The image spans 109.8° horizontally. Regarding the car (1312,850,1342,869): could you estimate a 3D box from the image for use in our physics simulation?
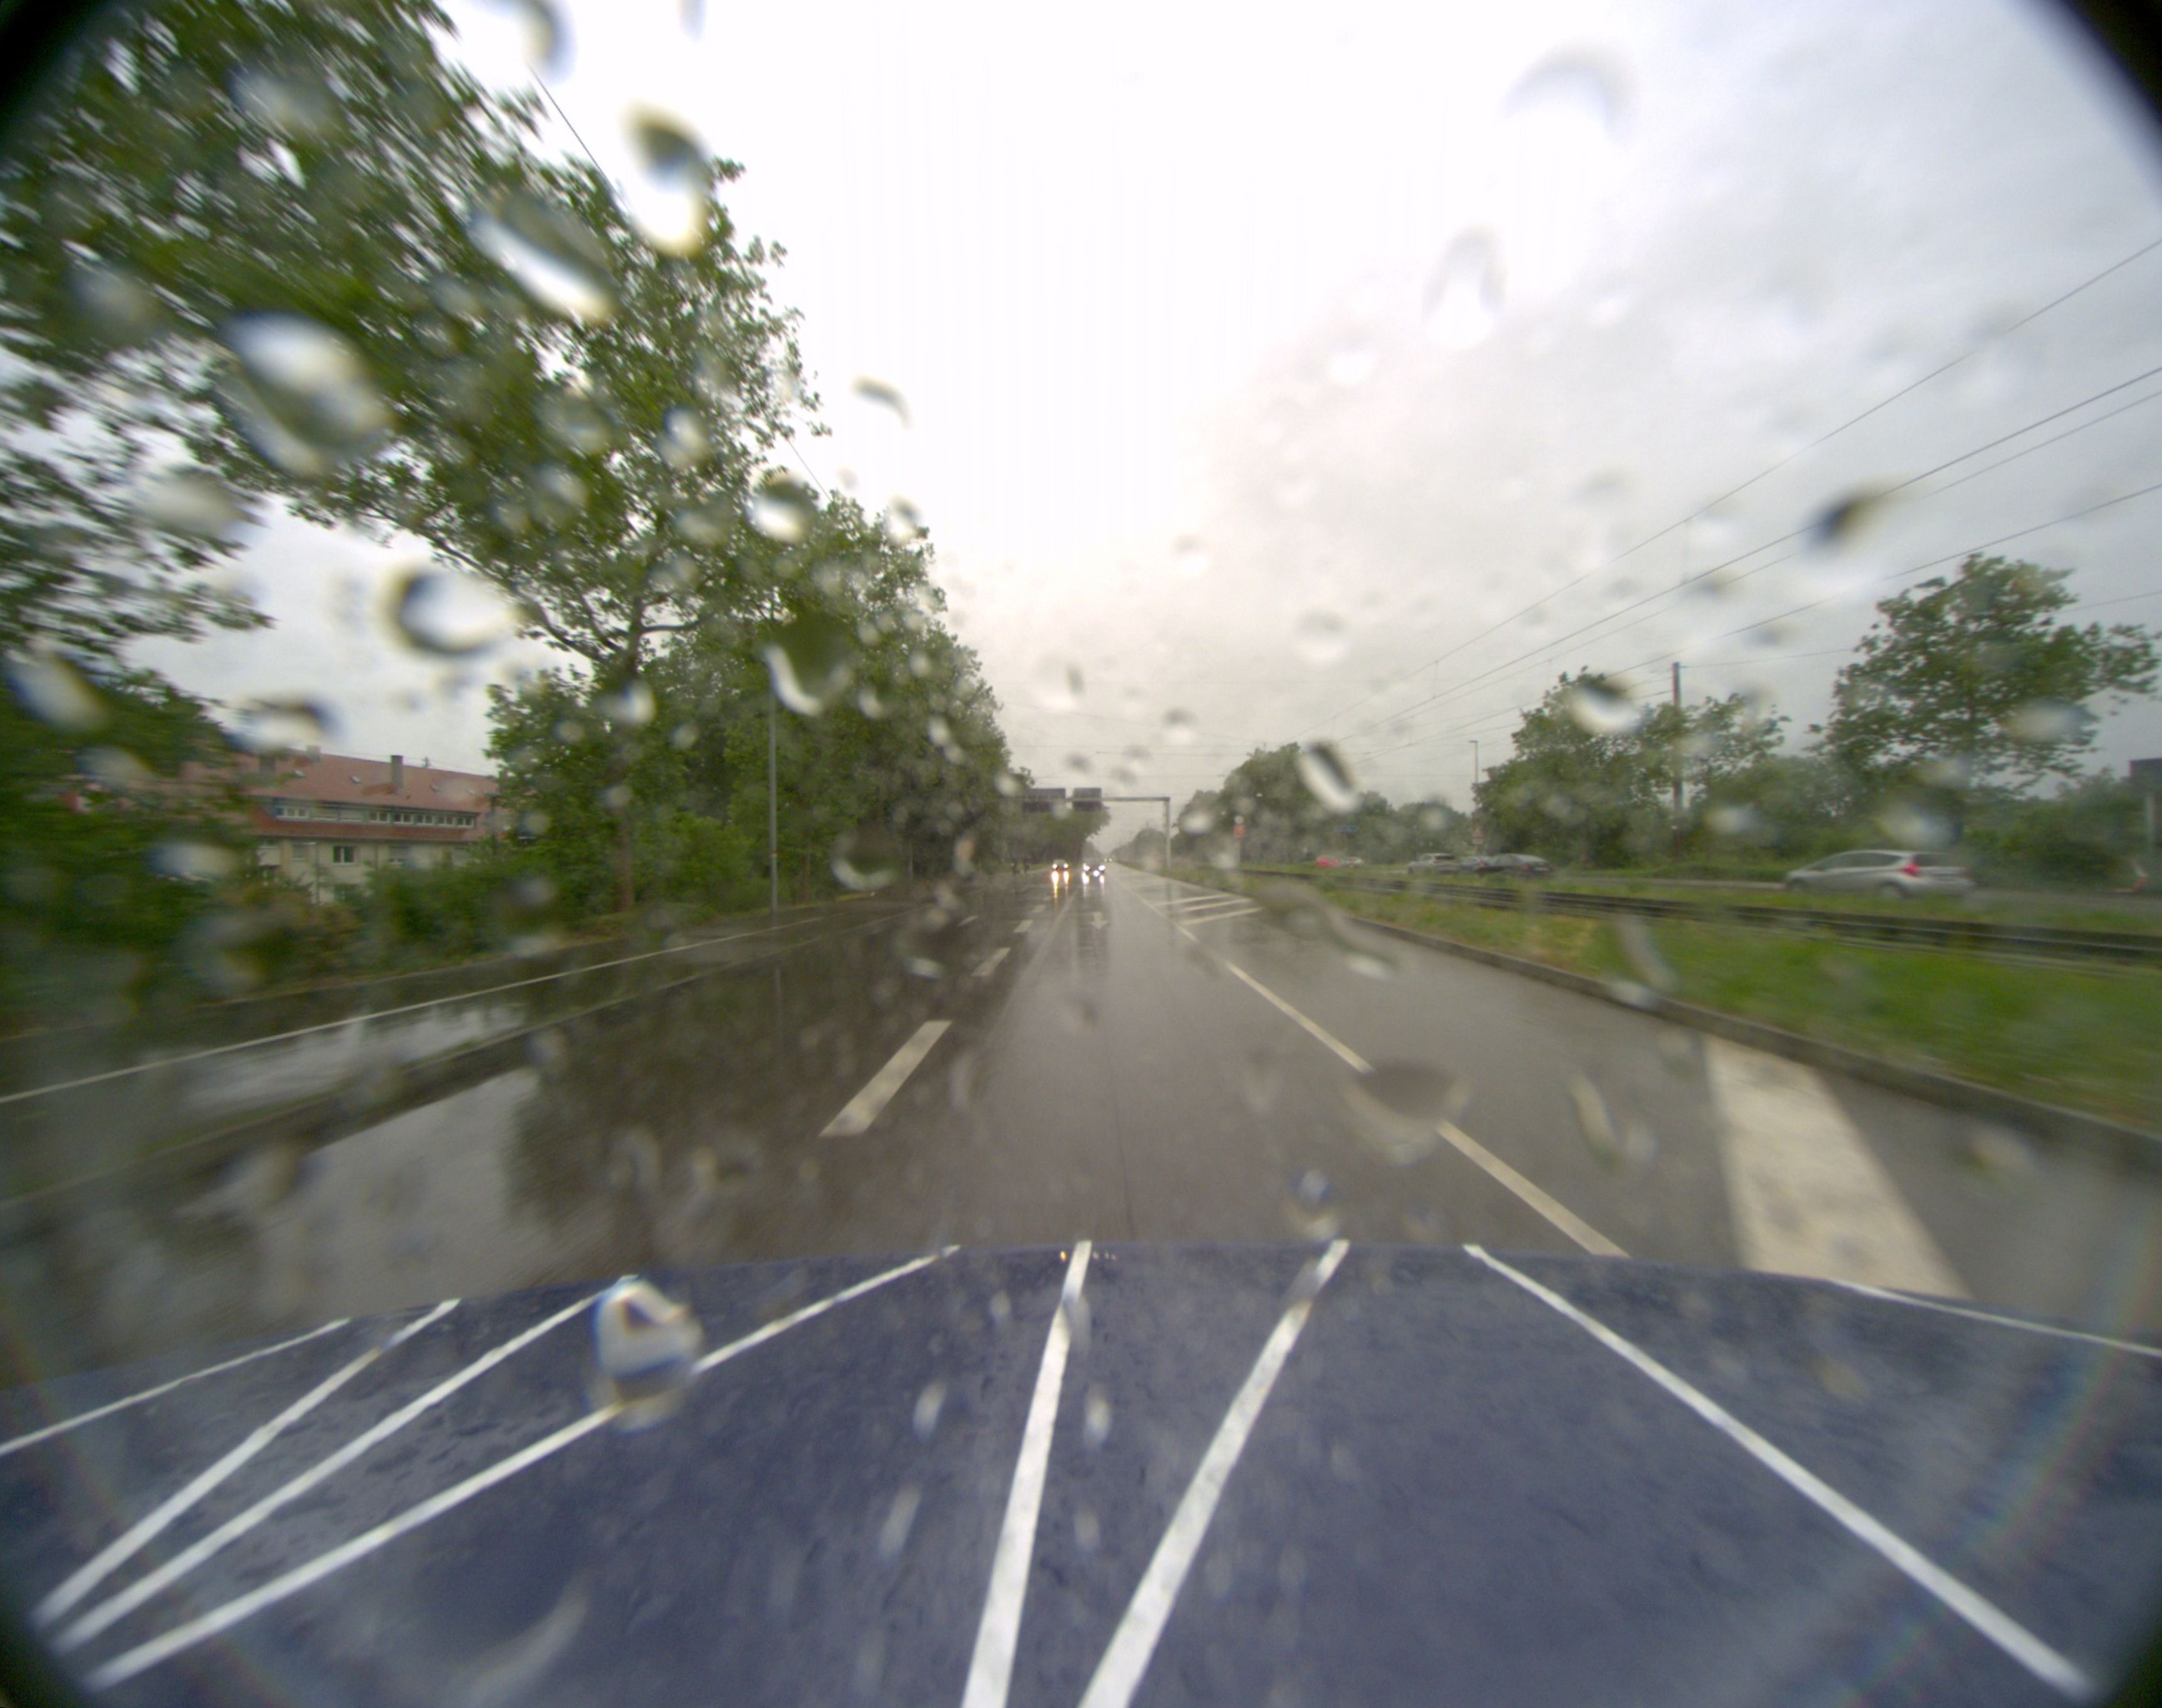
[{"bbox_3d":[22.504,0.470,69.597,1.606,1.580,3.619,-2,1,1],"label":"car"}]

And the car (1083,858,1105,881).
[{"bbox_3d":[1.216,1.447,72.381,1.998,2.002,4.000,-1,0,1],"label":"car"}]

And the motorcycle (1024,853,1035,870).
[{"bbox_3d":[-5.243,0.781,77.579,0.845,1.710,2.586,-2,0,1],"label":"motorcycle"}]

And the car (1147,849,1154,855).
[{"bbox_3d":[22.931,-0.596,250.404,1.998,2.002,4.000,-1,0,1],"label":"car"}]

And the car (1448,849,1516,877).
[{"bbox_3d":[26.065,0.562,49.532,1.999,1.671,4.538,-1,0,0],"label":"car"}]

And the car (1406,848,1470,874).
[{"bbox_3d":[22.366,0.425,47.738,1.998,1.477,4.298,-1,0,0],"label":"car"}]

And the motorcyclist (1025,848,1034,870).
[{"bbox_3d":[-5.250,0.518,77.521,0.762,2.246,0.916,-2,1,1],"label":"motorcyclist"}]

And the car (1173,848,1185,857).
[{"bbox_3d":[21.975,-0.284,170.323,1.975,2.002,4.519,-1,0,-2],"label":"car"}]

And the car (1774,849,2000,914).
[{"bbox_3d":[22.728,0.712,21.700,1.999,1.586,4.093,-3,0,-2],"label":"car"}]

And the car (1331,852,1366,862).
[{"bbox_3d":[37.804,0.426,107.428,4.485,1.348,1.608,-2,1,9],"label":"car"}]

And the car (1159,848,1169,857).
[{"bbox_3d":[19.325,-0.396,177.274,1.998,2.002,4.000,-1,0,1],"label":"car"}]

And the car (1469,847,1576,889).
[{"bbox_3d":[18.723,0.571,32.487,1.998,1.586,4.381,2,0,1],"label":"car"}]

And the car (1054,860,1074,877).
[{"bbox_3d":[-2.097,1.724,91.820,2.000,2.002,3.997,-2,0,-7],"label":"car"}]
